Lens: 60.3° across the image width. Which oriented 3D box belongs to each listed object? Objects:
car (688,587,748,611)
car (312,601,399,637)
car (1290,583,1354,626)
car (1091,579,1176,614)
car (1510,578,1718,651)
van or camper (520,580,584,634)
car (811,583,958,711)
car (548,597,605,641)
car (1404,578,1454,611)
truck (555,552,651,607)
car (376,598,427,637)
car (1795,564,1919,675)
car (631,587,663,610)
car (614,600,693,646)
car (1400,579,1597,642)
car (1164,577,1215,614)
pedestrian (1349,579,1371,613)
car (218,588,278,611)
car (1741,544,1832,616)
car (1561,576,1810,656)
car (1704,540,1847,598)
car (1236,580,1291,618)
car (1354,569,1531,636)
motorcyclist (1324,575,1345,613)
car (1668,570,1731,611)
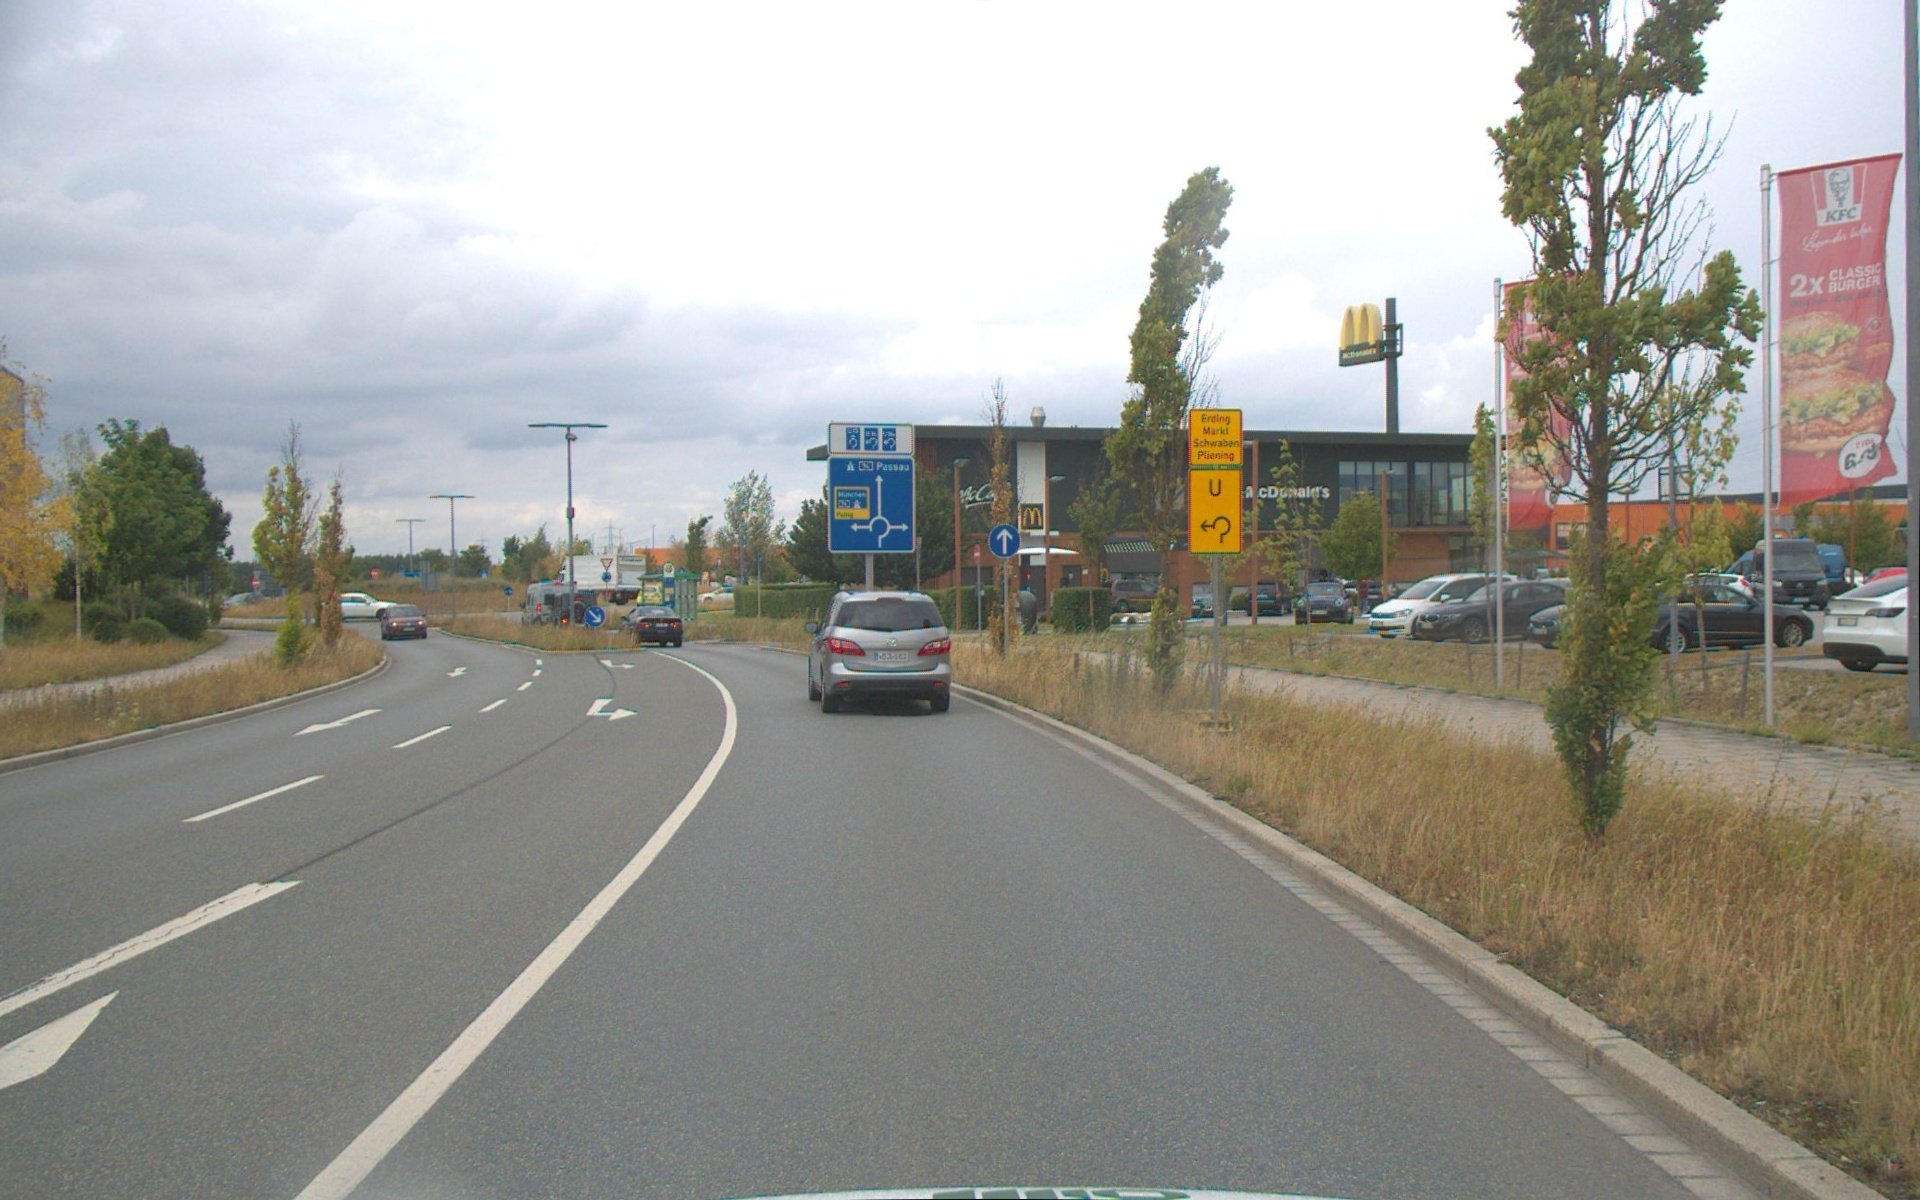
[{"bbox_3d":[-18.728,-0.056,127.964,4.521,1.788,1.994,-1,0,-12],"label":"car"},{"bbox_3d":[-36.039,1.134,98.659,4.523,2.049,1.996,-1,0,-8],"label":"car"},{"bbox_3d":[12.224,0.128,55.677,1.773,1.336,3.852,-1,1,17],"label":"car"},{"bbox_3d":[8.989,-0.182,85.777,3.931,1.747,1.987,-1,0,-22],"label":"car"},{"bbox_3d":[14.679,0.305,37.186,4.019,1.463,1.934,-2,1,-17],"label":"car"},{"bbox_3d":[-20.149,0.318,81.529,2.271,2.550,5.169,0,0,-23],"label":"van or camper"},{"bbox_3d":[-1.126,0.589,23.041,1.697,1.628,3.800,0,0,-8],"label":"car"},{"bbox_3d":[-17.268,0.834,74.349,2.027,1.858,4.759,-1,0,-19],"label":"car"},{"bbox_3d":[23.612,-0.281,83.379,1.951,1.609,4.003,0,0,9],"label":"car"},{"bbox_3d":[-27.252,-1.490,125.951,3.115,3.975,9.196,-1,0,-41],"label":"truck"},{"bbox_3d":[-26.893,0.830,79.593,1.776,1.698,4.292,-4,1,-25],"label":"car"},{"bbox_3d":[16.542,0.230,27.369,4.479,1.673,2.083,-3,0,-10],"label":"car"},{"bbox_3d":[-21.843,-0.132,115.507,1.956,1.542,3.993,-1,0,-7],"label":"car"},{"bbox_3d":[-10.399,0.750,55.887,1.819,1.443,4.196,-1,1,-22],"label":"car"},{"bbox_3d":[13.667,0.240,42.024,4.399,1.461,2.063,-1,1,-18],"label":"car"},{"bbox_3d":[10.941,-0.218,78.668,1.951,1.747,4.003,0,0,15],"label":"car"},{"bbox_3d":[17.319,-0.182,71.621,0.755,1.464,0.621,-1,0,38],"label":"pedestrian"},{"bbox_3d":[-52.134,-0.026,121.190,3.935,1.431,1.833,-3,1,-24],"label":"car"},{"bbox_3d":[31.235,-0.783,62.728,2.227,2.545,7.330,-1,1,20],"label":"car"},{"bbox_3d":[14.986,0.306,34.227,4.442,1.494,2.024,-1,1,-15],"label":"car"},{"bbox_3d":[38.319,-1.419,77.805,5.912,2.572,2.278,-1,1,28],"label":"car"},{"bbox_3d":[14.773,-0.055,80.378,2.071,1.747,4.232,0,0,19],"label":"car"},{"bbox_3d":[12.958,0.047,44.433,4.284,1.668,1.926,-1,1,-21],"label":"car"},{"bbox_3d":[18.253,-0.295,80.549,0.940,1.864,0.846,0,0,16],"label":"motorcyclist"},{"bbox_3d":[27.948,-0.370,62.600,1.910,1.468,4.219,-1,0,21],"label":"car"}]
